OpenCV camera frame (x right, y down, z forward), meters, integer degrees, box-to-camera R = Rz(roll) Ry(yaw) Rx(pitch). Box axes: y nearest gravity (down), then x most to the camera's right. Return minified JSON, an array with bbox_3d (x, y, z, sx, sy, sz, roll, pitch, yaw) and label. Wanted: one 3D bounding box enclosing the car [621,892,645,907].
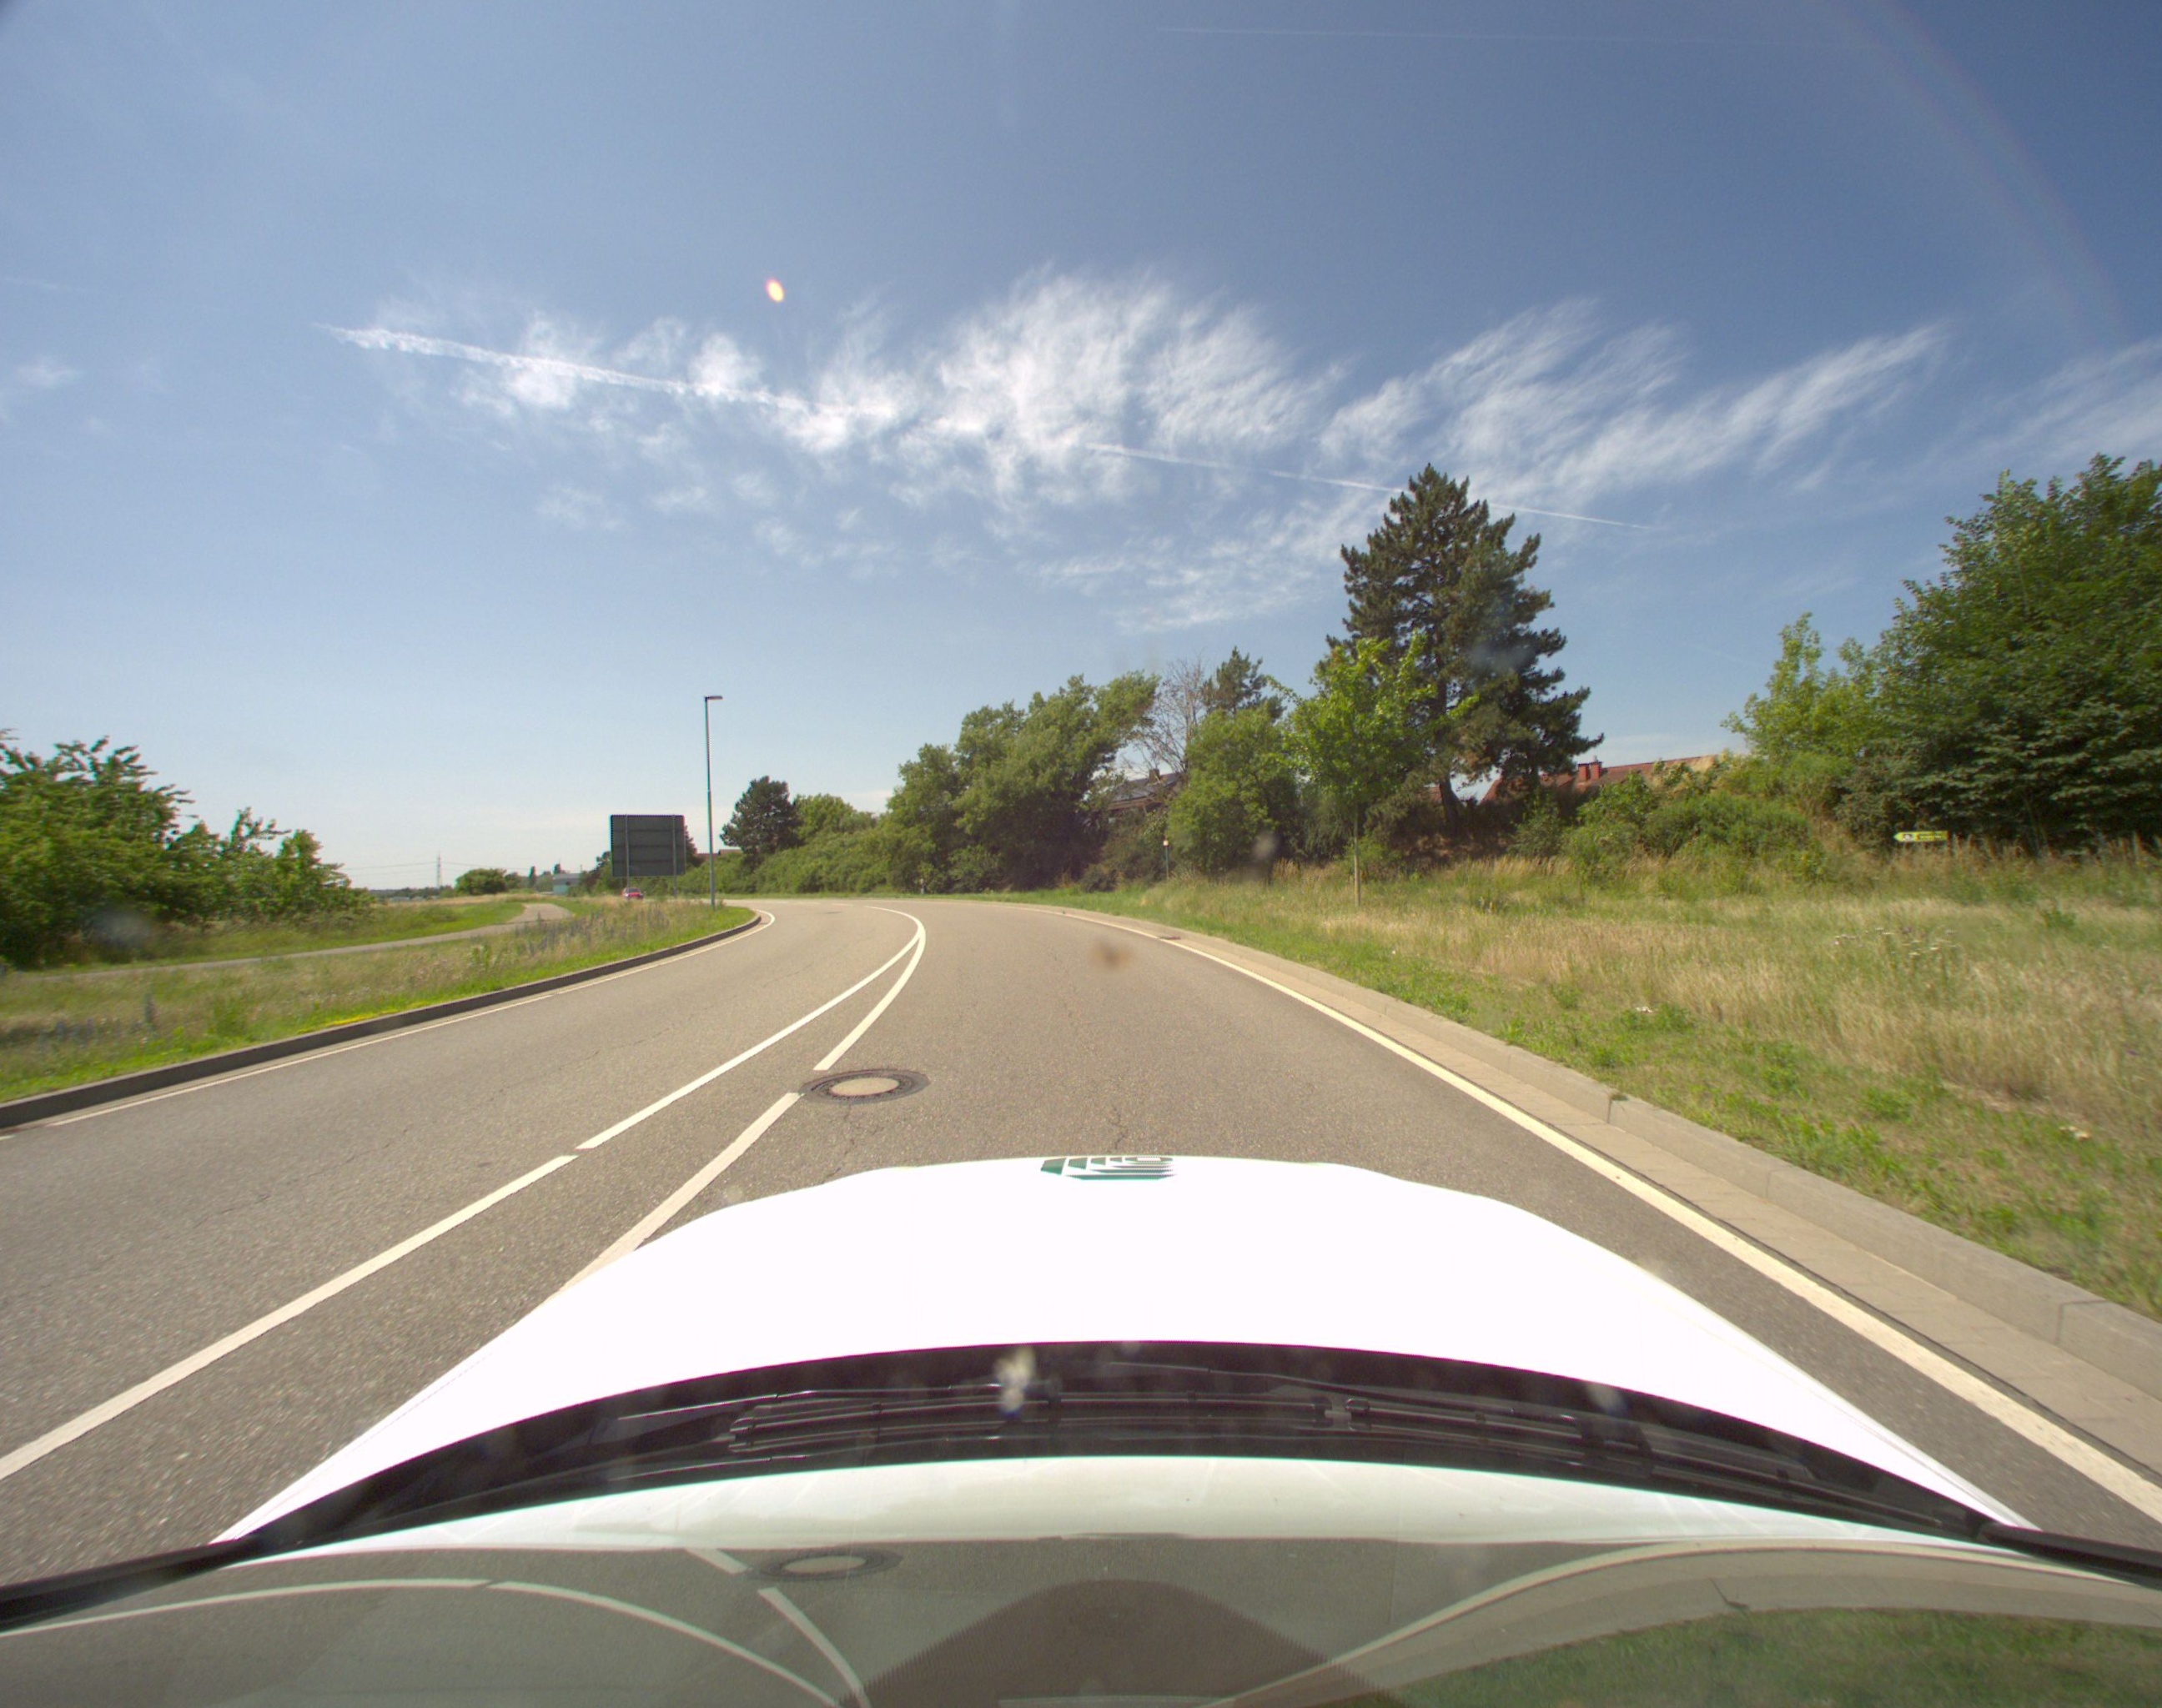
[{"bbox_3d":[-46.838,4.778,85.083,1.668,1.433,3.694,-3,-1,-37],"label":"car"}]
